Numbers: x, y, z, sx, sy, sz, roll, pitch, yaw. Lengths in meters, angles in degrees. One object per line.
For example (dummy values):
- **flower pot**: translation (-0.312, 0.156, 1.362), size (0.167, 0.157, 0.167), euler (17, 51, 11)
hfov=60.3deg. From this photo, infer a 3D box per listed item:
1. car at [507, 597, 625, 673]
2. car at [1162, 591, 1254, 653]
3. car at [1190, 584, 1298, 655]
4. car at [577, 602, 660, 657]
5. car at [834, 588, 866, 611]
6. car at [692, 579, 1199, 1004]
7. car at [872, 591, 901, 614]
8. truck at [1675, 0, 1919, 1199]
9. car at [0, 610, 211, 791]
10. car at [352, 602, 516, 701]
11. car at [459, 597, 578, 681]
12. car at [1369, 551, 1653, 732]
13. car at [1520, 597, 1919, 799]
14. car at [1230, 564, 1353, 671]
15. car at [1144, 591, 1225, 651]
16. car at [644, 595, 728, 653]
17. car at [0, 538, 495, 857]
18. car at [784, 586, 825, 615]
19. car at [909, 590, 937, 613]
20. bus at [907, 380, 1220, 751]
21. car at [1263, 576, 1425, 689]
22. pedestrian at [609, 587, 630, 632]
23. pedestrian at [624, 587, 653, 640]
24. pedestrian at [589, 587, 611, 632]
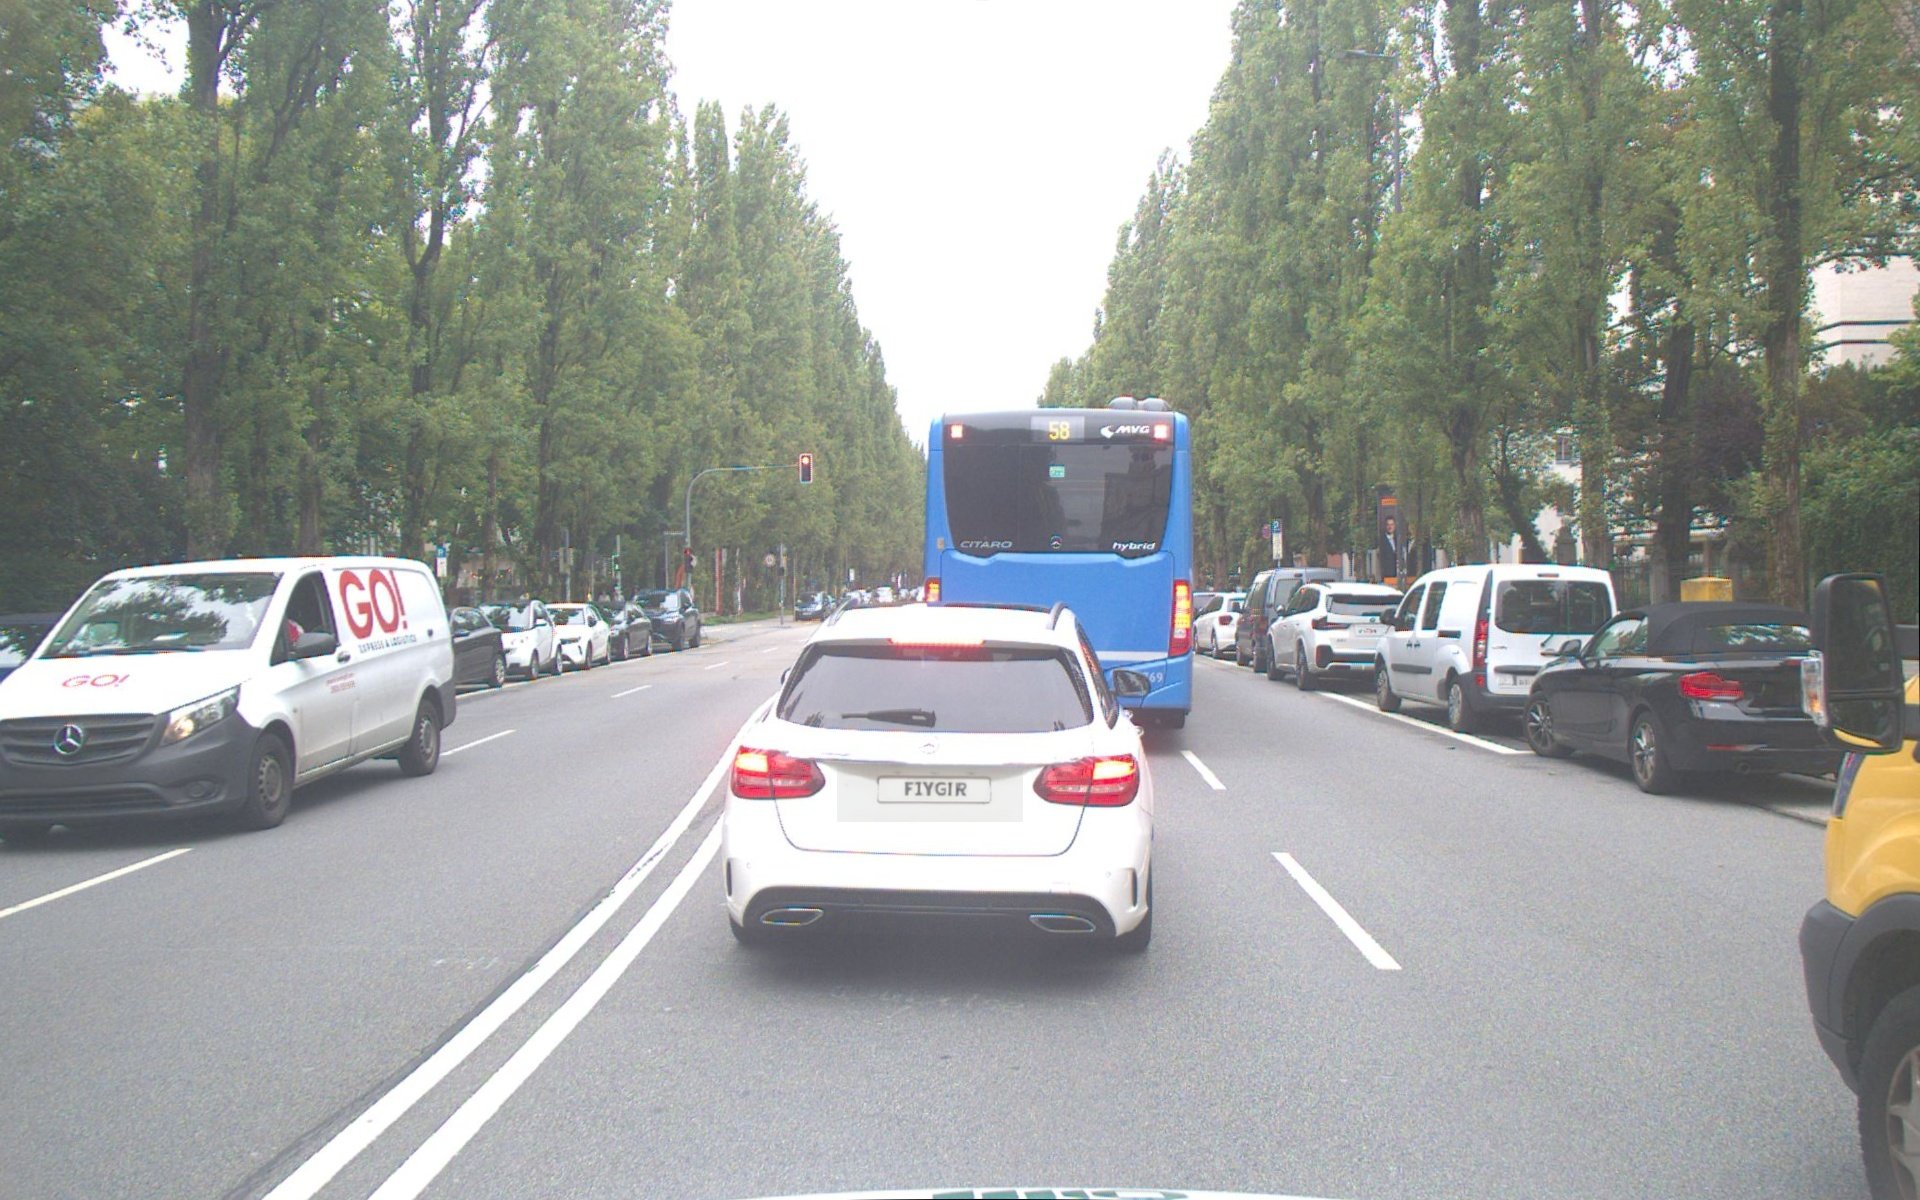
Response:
- **car**: translation (-8.735, 0.736, 36.965), size (1.673, 1.575, 4.000), euler (-1, 0, 0)
- **car**: translation (6.383, 0.526, 42.907), size (1.749, 1.518, 4.000), euler (-1, 0, 0)
- **car**: translation (6.420, 0.406, 37.763), size (1.762, 1.501, 4.000), euler (-1, 0, 0)
- **car**: translation (-8.756, 0.736, 42.628), size (1.262, 1.296, 3.849), euler (-1, 0, 1)
- **car**: translation (-7.222, -0.045, 108.750), size (1.784, 1.512, 4.000), euler (-1, 0, 0)
- **car**: translation (0.057, 0.663, 8.141), size (1.787, 1.480, 4.584), euler (0, 0, 3)
- **car**: translation (-4.939, 0.131, 111.227), size (1.784, 1.512, 4.000), euler (-1, 0, 0)
- **truck**: translation (3.183, 0.021, 0.970), size (2.280, 2.949, 7.332), euler (0, 0, -1)
- **car**: translation (-9.130, 0.921, 16.450), size (1.709, 1.545, 4.114), euler (-2, 0, -5)
- **car**: translation (-8.913, 0.824, 28.331), size (1.508, 1.458, 3.869), euler (-4, 0, 0)
- **car**: translation (-8.772, 0.739, 33.099), size (1.380, 1.579, 3.444), euler (-1, 0, 1)
- **car**: translation (6.164, 0.415, 19.033), size (1.796, 1.804, 4.230), euler (2, 0, 0)
- **car**: translation (6.050, 0.681, 13.531), size (1.710, 1.378, 4.001), euler (0, 0, 2)
- **car**: translation (6.233, 0.296, 31.478), size (1.668, 1.868, 4.001), euler (1, 0, 2)
- **car**: translation (6.481, 0.561, 48.070), size (1.772, 1.646, 4.000), euler (-1, 0, -1)
- **car**: translation (-7.929, 0.668, 48.161), size (1.672, 1.579, 4.001), euler (-1, 0, 1)
- **car**: translation (-5.647, 0.607, 13.103), size (2.138, 1.924, 5.697), euler (-2, 0, 1)
- **car**: translation (-8.373, 0.029, 89.342), size (1.784, 1.512, 4.000), euler (-1, 0, 0)
- **car**: translation (-2.762, 0.096, 123.510), size (1.953, 1.647, 4.000), euler (-1, 0, 0)
- **bus**: translation (1.429, -0.344, 19.256), size (2.795, 3.269, 9.066), euler (0, 0, 7)
- **car**: translation (5.972, 0.456, 26.180), size (1.643, 1.624, 4.087), euler (1, 0, 1)
- **pedestrian**: translation (-15.750, 0.447, 76.582), size (0.813, 2.049, 0.777), euler (-1, 0, -2)
- **pedestrian**: translation (-11.094, 0.449, 57.070), size (0.805, 1.795, 1.080), euler (-1, 0, -2)
- **pedestrian**: translation (-16.621, 0.448, 76.423), size (0.813, 2.049, 0.777), euler (-1, 0, -2)
